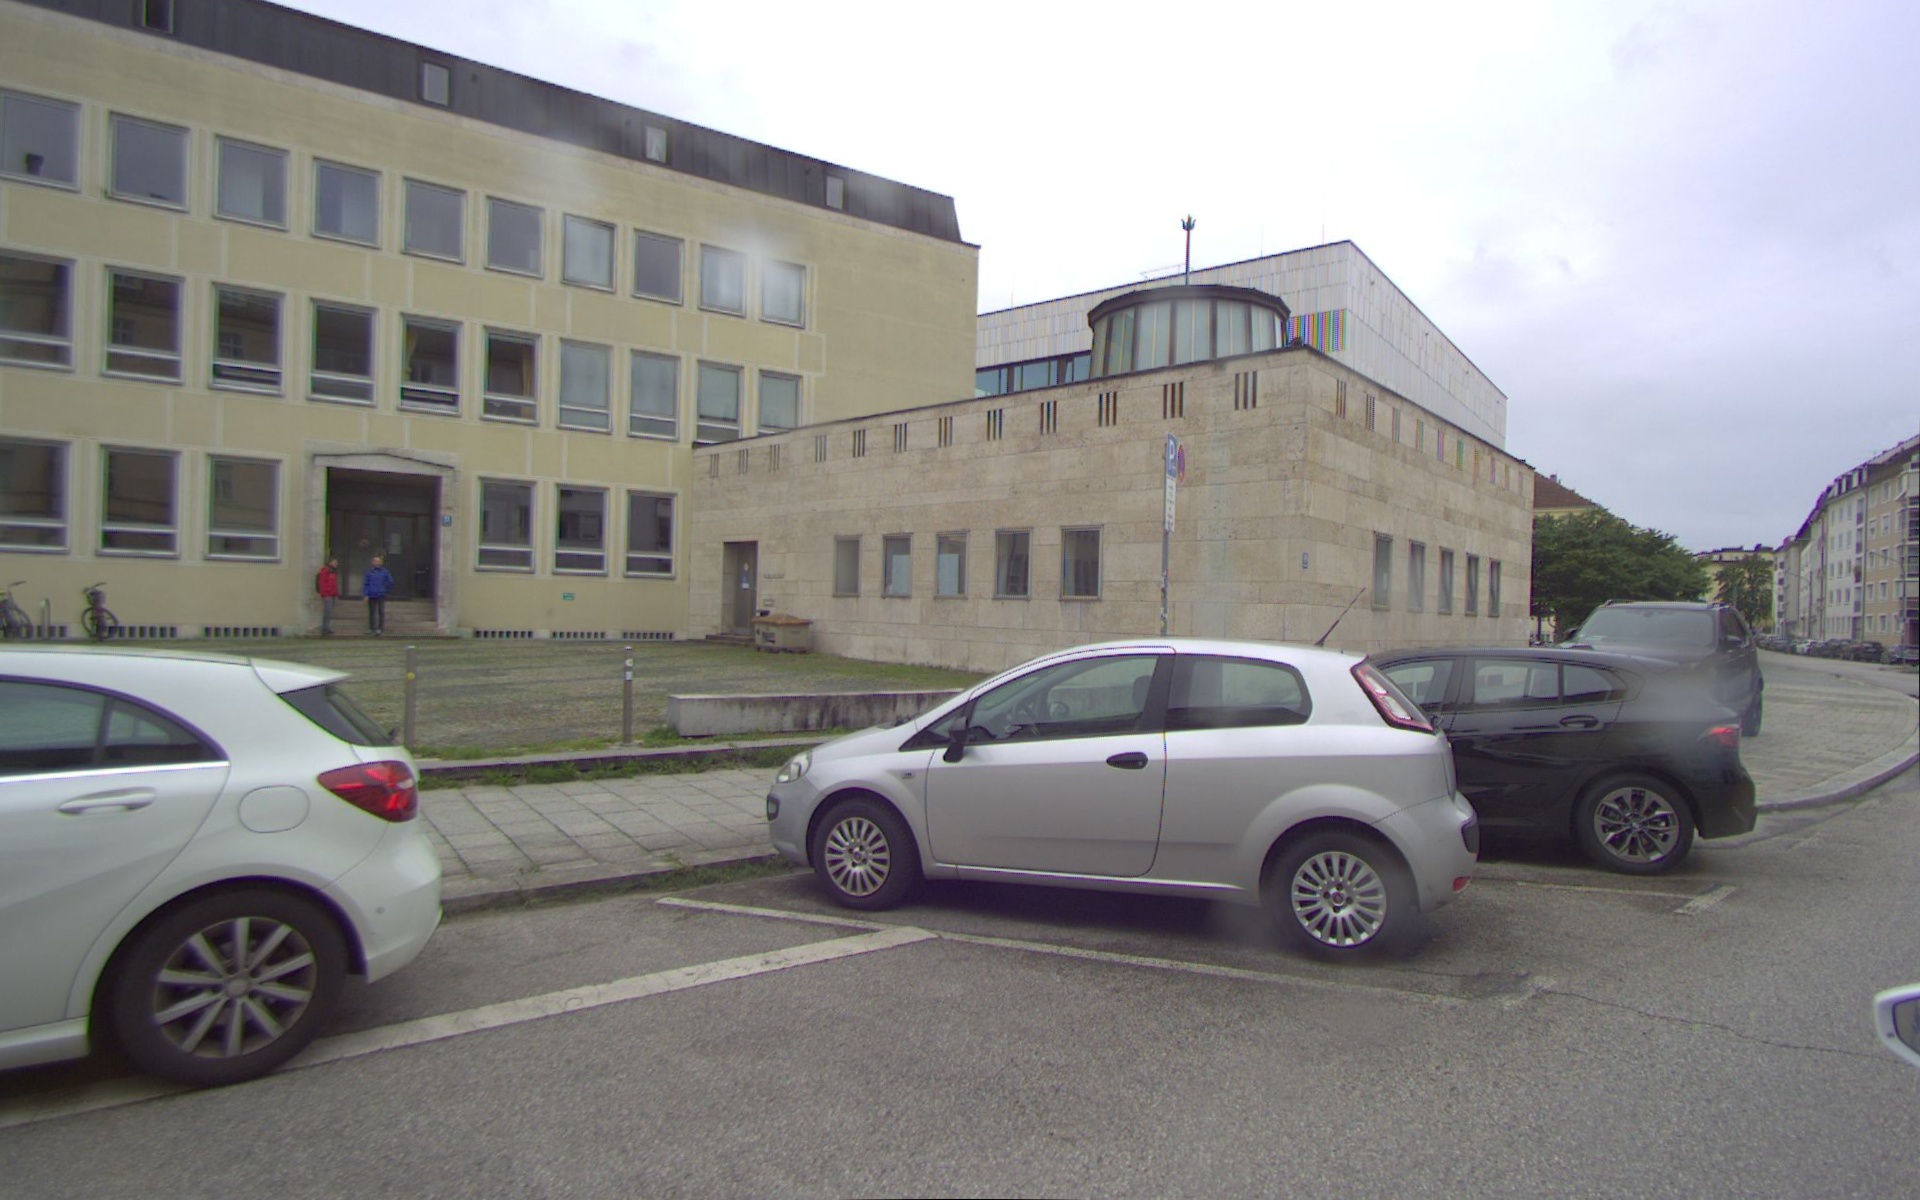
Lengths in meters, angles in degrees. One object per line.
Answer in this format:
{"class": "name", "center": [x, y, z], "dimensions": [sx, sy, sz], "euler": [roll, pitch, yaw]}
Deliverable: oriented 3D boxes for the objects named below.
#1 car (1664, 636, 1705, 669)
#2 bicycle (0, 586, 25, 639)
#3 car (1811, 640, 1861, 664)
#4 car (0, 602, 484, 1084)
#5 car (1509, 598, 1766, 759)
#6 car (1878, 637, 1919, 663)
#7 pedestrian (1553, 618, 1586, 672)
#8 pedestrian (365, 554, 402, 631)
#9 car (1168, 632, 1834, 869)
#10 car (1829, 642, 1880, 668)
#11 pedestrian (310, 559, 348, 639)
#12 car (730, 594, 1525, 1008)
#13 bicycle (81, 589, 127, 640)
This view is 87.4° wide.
{"class": "car", "center": [64.127, 4.657, 89.005], "dimensions": [2.386, 2.750, 5.942], "euler": [0, -2, 30]}
{"class": "bicycle", "center": [-18.699, 0.219, 19.509], "dimensions": [0.433, 0.929, 1.890], "euler": [2, 1, -33]}
{"class": "car", "center": [69.433, 4.098, 79.688], "dimensions": [1.934, 1.623, 4.664], "euler": [3, 1, 28]}
{"class": "car", "center": [-3.949, 0.737, 3.245], "dimensions": [4.102, 1.405, 1.815], "euler": [2, -4, -36]}
{"class": "car", "center": [9.389, 0.933, 13.746], "dimensions": [4.783, 1.795, 1.974], "euler": [2, 0, -44]}
{"class": "car", "center": [62.195, 3.291, 66.014], "dimensions": [1.897, 1.532, 4.382], "euler": [4, 0, 31]}
{"class": "pedestrian", "center": [18.800, 1.381, 30.988], "dimensions": [0.631, 1.623, 0.606], "euler": [3, 1, 13]}
{"class": "pedestrian", "center": [-13.447, -0.180, 23.415], "dimensions": [0.640, 1.768, 0.709], "euler": [2, 2, -36]}
{"class": "car", "center": [3.661, 0.958, 7.505], "dimensions": [3.928, 1.391, 1.750], "euler": [0, -2, 20]}
{"class": "car", "center": [67.186, 4.098, 75.471], "dimensions": [1.802, 1.623, 4.259], "euler": [3, 1, 28]}
{"class": "pedestrian", "center": [-14.300, -0.023, 22.762], "dimensions": [0.640, 1.768, 0.709], "euler": [2, 2, -36]}
{"class": "car", "center": [0.837, 0.842, 5.730], "dimensions": [3.906, 1.550, 1.674], "euler": [3, 1, 23]}
{"class": "bicycle", "center": [-17.493, 0.273, 20.550], "dimensions": [0.433, 0.929, 1.890], "euler": [2, 1, -33]}
